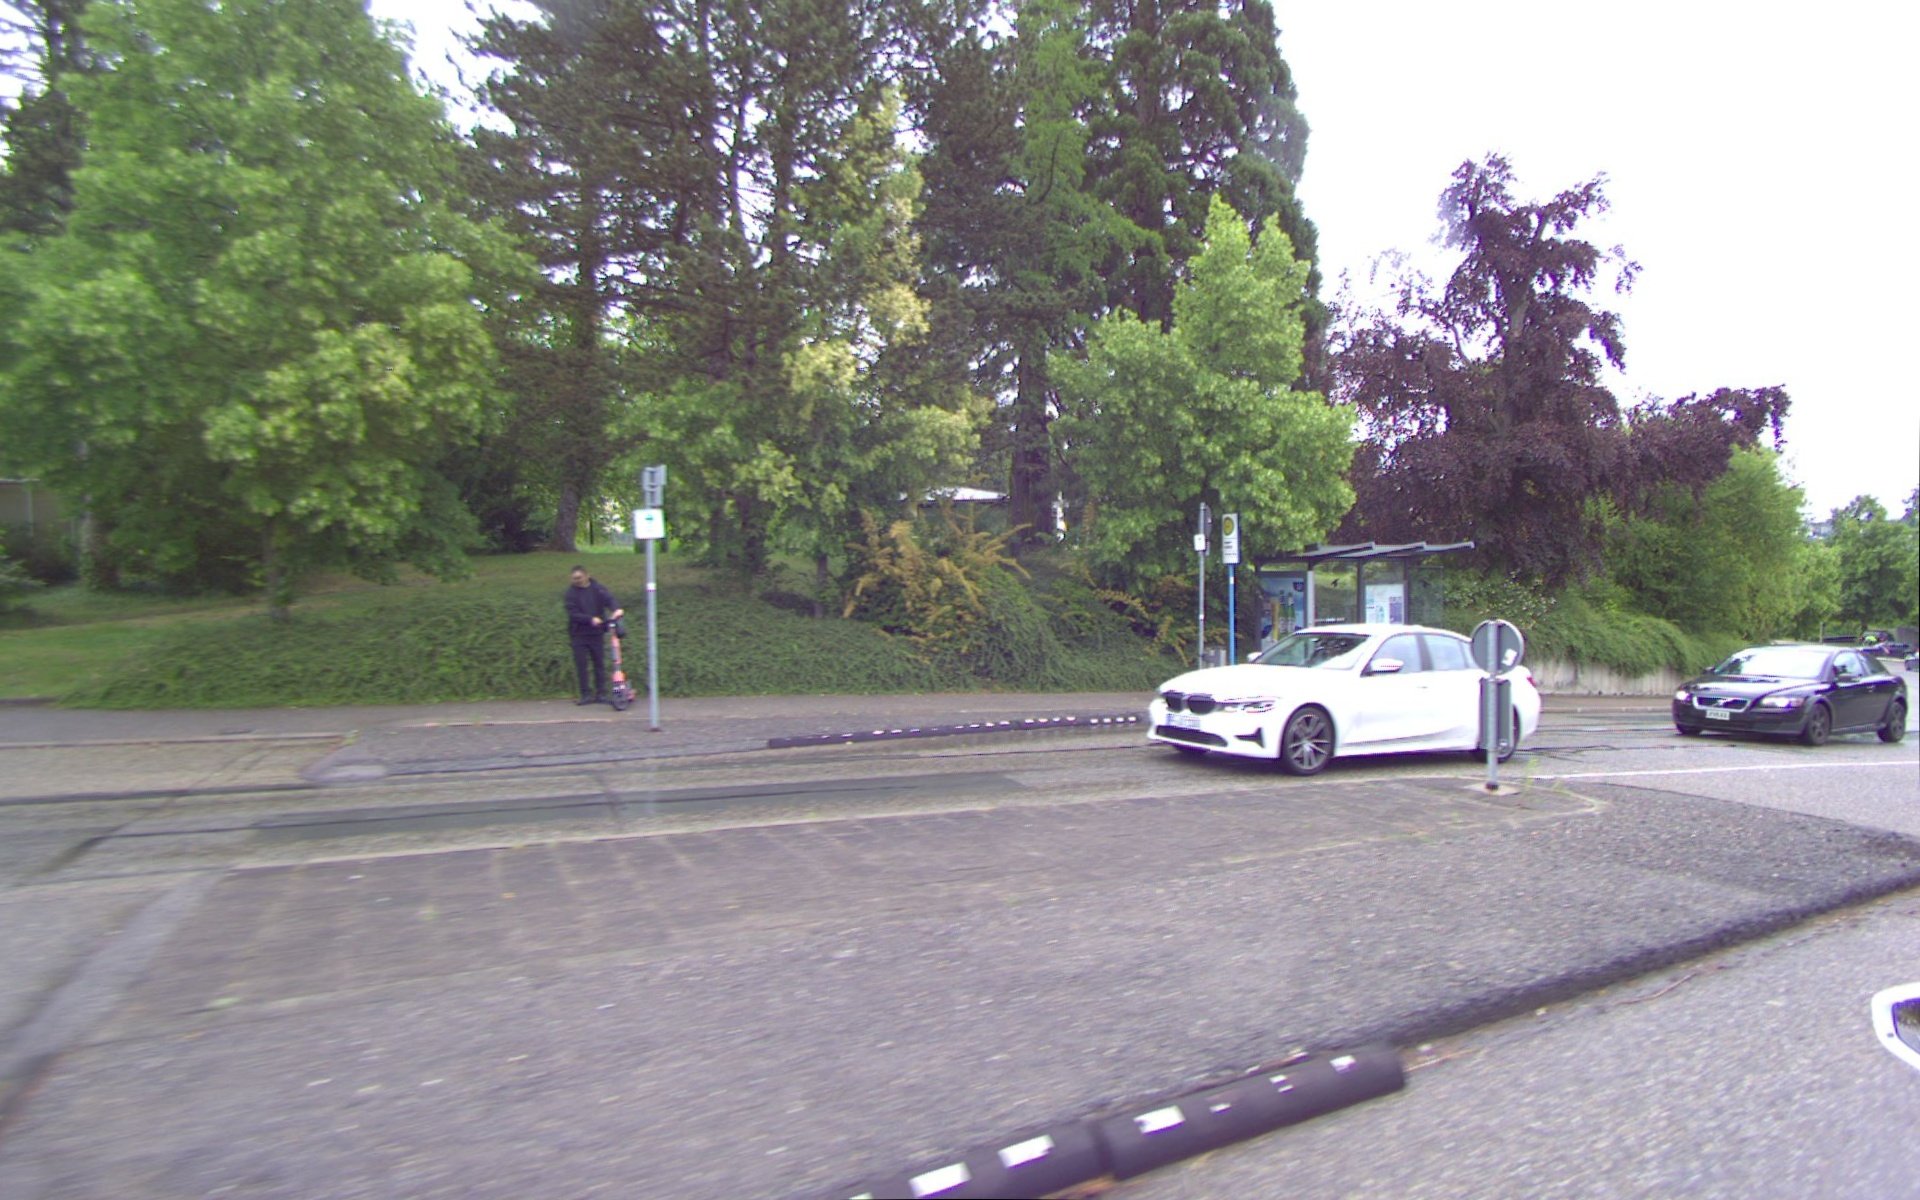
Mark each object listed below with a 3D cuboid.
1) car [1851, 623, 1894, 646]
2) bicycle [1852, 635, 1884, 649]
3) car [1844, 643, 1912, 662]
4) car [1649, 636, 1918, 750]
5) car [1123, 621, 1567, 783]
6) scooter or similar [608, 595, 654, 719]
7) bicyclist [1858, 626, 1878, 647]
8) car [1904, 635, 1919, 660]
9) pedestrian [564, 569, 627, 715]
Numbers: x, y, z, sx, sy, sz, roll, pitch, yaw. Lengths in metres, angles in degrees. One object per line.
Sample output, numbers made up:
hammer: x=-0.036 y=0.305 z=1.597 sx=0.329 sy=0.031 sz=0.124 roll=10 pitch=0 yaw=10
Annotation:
car: x=84.380 y=3.146 z=92.905 sx=4.854 sy=1.712 sz=1.934 roll=-3 pitch=3 yaw=-36
bicycle: x=79.725 y=3.685 z=88.223 sx=2.007 sy=1.170 sz=0.851 roll=0 pitch=-1 yaw=40
car: x=76.674 y=4.397 z=83.934 sx=4.077 sy=1.402 sz=1.719 roll=0 pitch=-2 yaw=40
car: x=12.492 y=1.312 z=15.178 sx=4.352 sy=1.466 sz=1.782 roll=2 pitch=-1 yaw=-31
car: x=4.223 y=0.964 z=10.834 sx=4.760 sy=1.420 sz=1.821 roll=1 pitch=-1 yaw=-28
scooter or similar: x=-4.315 y=0.720 z=13.213 sx=0.502 sy=1.536 sz=1.314 roll=0 pitch=-1 yaw=-15
bicyclist: x=79.727 y=3.198 z=88.238 sx=1.266 sy=1.779 sz=0.851 roll=0 pitch=-1 yaw=39
car: x=59.636 y=2.999 z=61.459 sx=1.696 sy=1.483 sz=3.993 roll=4 pitch=2 yaw=29
pedestrian: x=-4.741 y=0.535 z=13.104 sx=0.693 sy=1.831 sz=0.823 roll=0 pitch=0 yaw=-16
